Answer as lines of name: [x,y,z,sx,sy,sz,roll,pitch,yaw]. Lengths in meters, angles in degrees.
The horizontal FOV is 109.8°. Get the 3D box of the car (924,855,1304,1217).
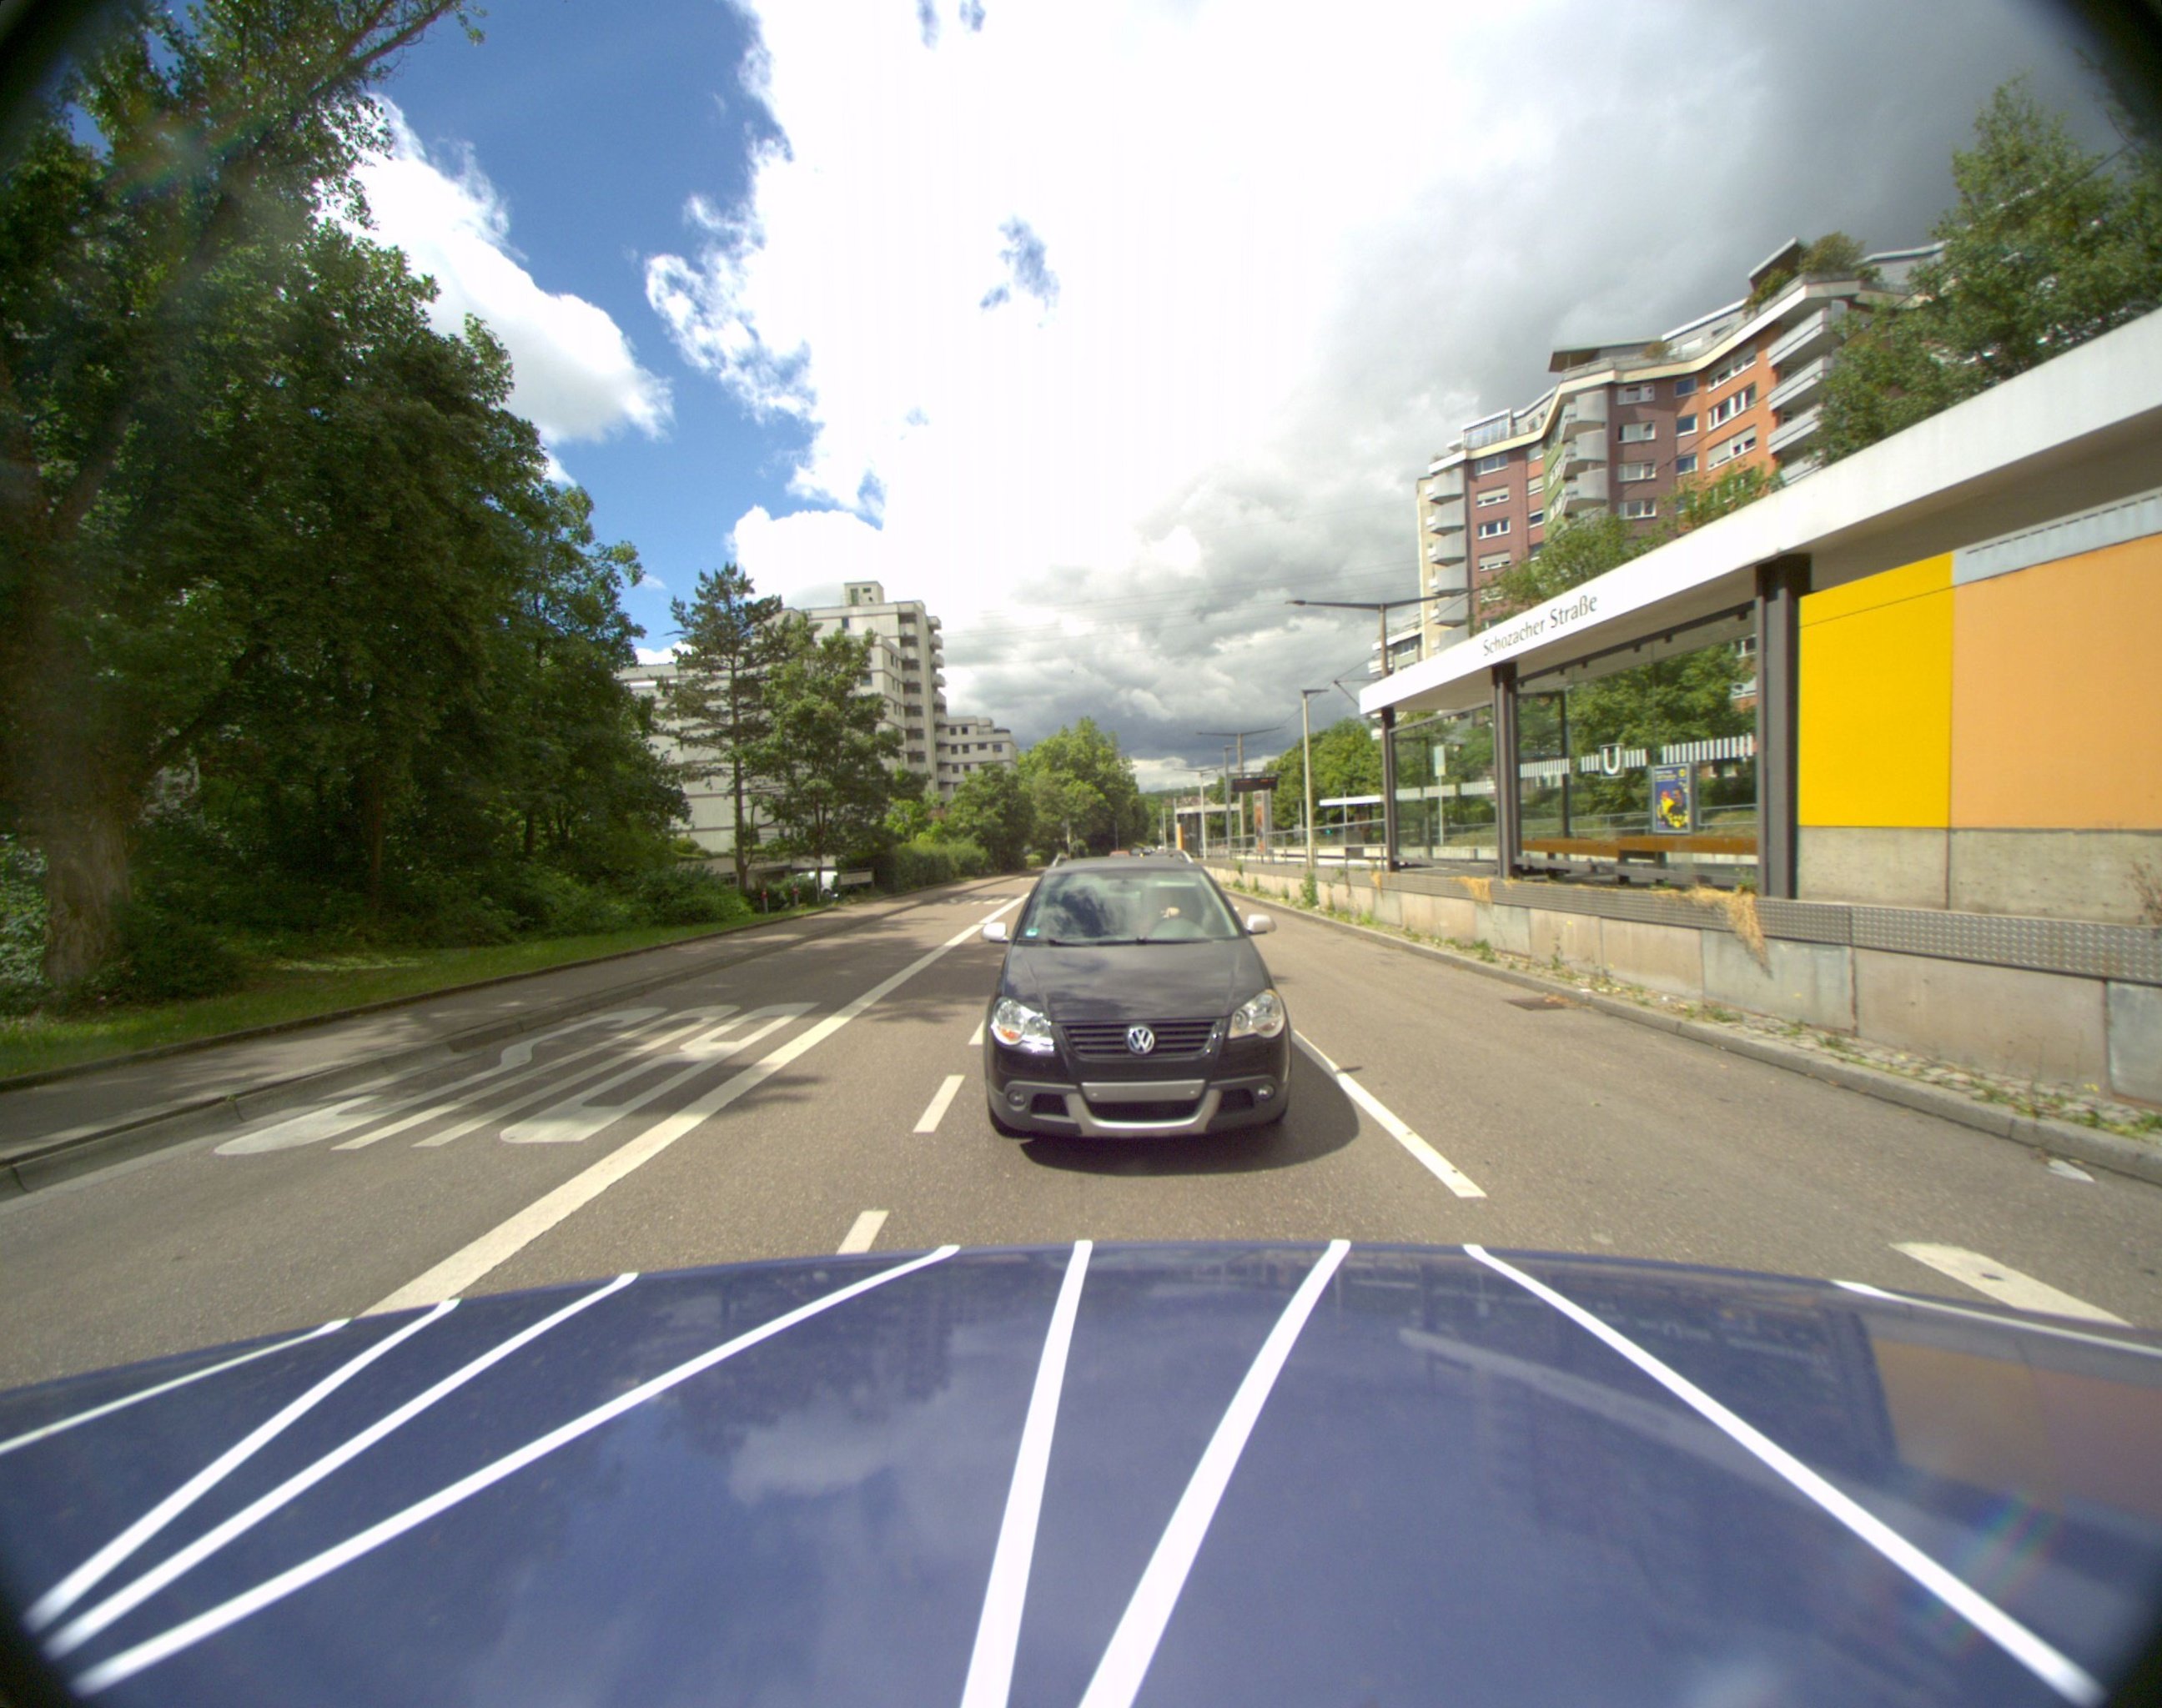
car: [0.237,0.829,5.399,1.641,1.521,4.000,-2,1,3]

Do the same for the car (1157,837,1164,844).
car: [22.220,-3.787,212.876,1.518,1.674,4.000,-2,1,3]

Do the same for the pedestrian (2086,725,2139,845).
pedestrian: [15.008,-0.986,11.060,0.354,1.703,0.426,-3,2,-41]

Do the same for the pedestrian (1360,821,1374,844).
pedestrian: [16.433,-1.248,43.603,0.536,1.270,0.561,-2,1,-3]

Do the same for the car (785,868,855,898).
car: [-19.858,2.225,57.908,4.543,2.002,2.001,-2,1,7]

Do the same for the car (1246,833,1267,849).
car: [22.202,-1.631,96.234,1.737,2.002,4.000,-2,1,2]

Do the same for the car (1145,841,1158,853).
car: [12.309,-1.271,132.161,1.997,2.002,4.001,-3,1,6]

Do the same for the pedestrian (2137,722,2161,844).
pedestrian: [15.384,-1.004,10.716,0.387,1.703,0.550,-3,2,-39]

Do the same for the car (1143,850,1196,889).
car: [3.568,0.600,31.335,1.821,1.377,4.065,-2,1,2]

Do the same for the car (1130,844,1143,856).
car: [6.950,-0.524,94.991,1.643,1.395,3.708,-2,1,5]

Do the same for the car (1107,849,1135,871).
car: [2.749,0.391,52.598,1.821,1.377,4.065,-2,1,2]

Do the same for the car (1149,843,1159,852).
car: [14.852,-1.267,155.058,1.802,1.698,4.000,-3,1,4]
